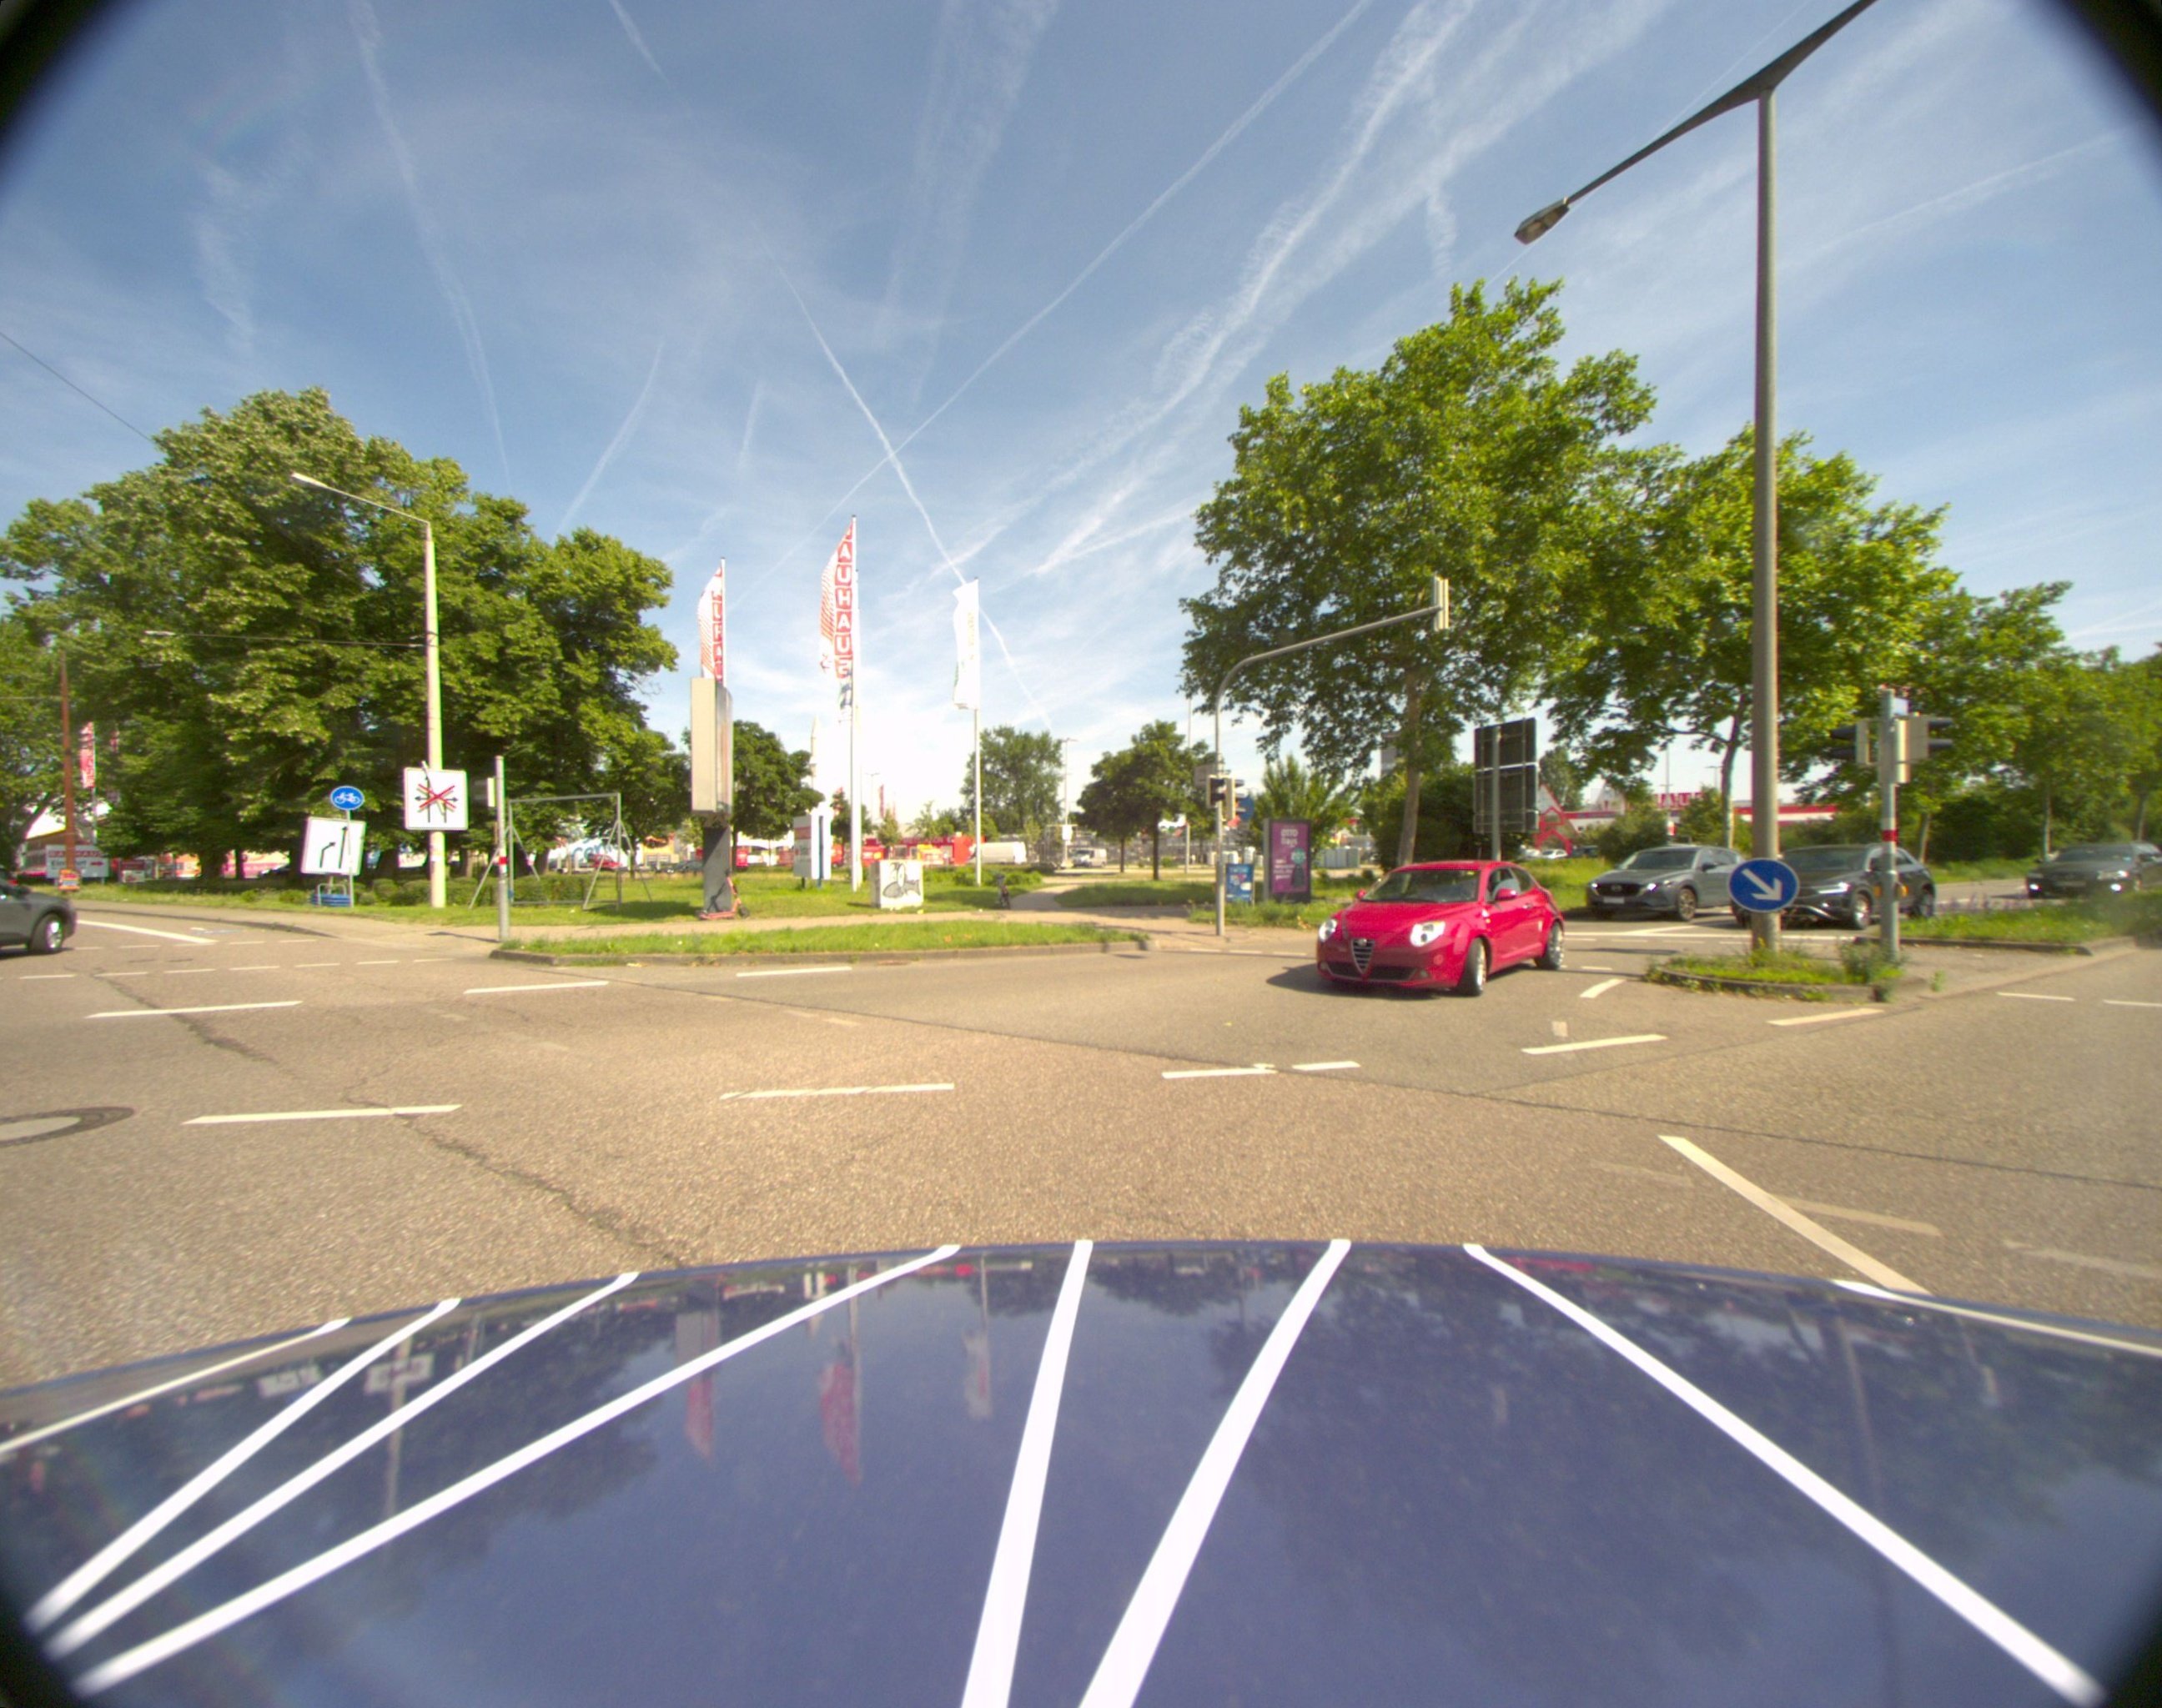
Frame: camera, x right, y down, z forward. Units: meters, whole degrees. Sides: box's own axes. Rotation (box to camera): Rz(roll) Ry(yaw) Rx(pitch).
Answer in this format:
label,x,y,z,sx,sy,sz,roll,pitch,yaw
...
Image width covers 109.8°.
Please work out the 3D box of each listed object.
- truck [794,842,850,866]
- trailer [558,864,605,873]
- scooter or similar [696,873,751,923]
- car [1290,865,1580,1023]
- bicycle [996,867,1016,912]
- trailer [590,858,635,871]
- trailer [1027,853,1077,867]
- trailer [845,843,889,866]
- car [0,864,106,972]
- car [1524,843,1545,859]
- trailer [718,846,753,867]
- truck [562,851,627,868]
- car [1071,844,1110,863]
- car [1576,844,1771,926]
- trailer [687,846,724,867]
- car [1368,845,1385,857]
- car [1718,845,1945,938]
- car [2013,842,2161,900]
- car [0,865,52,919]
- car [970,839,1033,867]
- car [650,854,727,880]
label,x,y,z,sx,sy,sz,roll,pitch,yaw
truck,-28.152,-0.010,82.772,2.014,2.594,6.041,-1,0,27
trailer,-46.913,1.341,71.371,4.399,0.777,2.104,-1,1,33
scooter or similar,-8.416,1.019,17.886,1.125,1.120,0.425,-1,1,-26
car,4.392,0.910,9.166,3.916,1.430,1.655,-1,-1,-41
bicycle,-2.105,0.960,21.253,0.503,1.102,1.790,-1,2,-7
trailer,-45.891,1.037,74.368,4.400,1.279,1.593,-1,1,25
trailer,-2.670,0.544,69.731,4.020,1.116,2.072,-1,3,30
trailer,-22.676,0.037,80.715,1.746,2.363,4.420,0,1,32
car,-17.649,1.026,11.248,2.000,1.641,4.646,-1,1,-25
car,46.782,-0.350,78.362,1.685,1.565,4.007,-1,1,29
trailer,-39.592,0.256,87.097,4.399,2.344,1.554,0,1,34
truck,-56.970,0.592,89.032,2.182,1.820,6.017,-3,-1,30
car,0.995,-0.058,74.988,1.870,1.805,4.839,1,1,27
car,13.842,0.672,17.714,4.502,1.649,1.768,-1,-1,-26
trailer,-41.844,0.256,84.717,4.399,2.363,1.594,0,1,31
car,39.774,-0.380,102.289,1.685,1.565,4.007,-1,1,29
car,14.669,0.644,14.852,4.086,1.536,1.871,-1,0,-26
car,28.213,0.437,21.236,4.583,1.420,1.715,-1,-1,-26
car,-34.470,1.179,24.022,4.366,1.596,1.817,0,1,31
car,-7.621,-0.103,72.364,5.674,2.528,2.022,-1,3,27
car,-25.534,0.830,49.525,1.725,1.578,4.059,0,1,37
